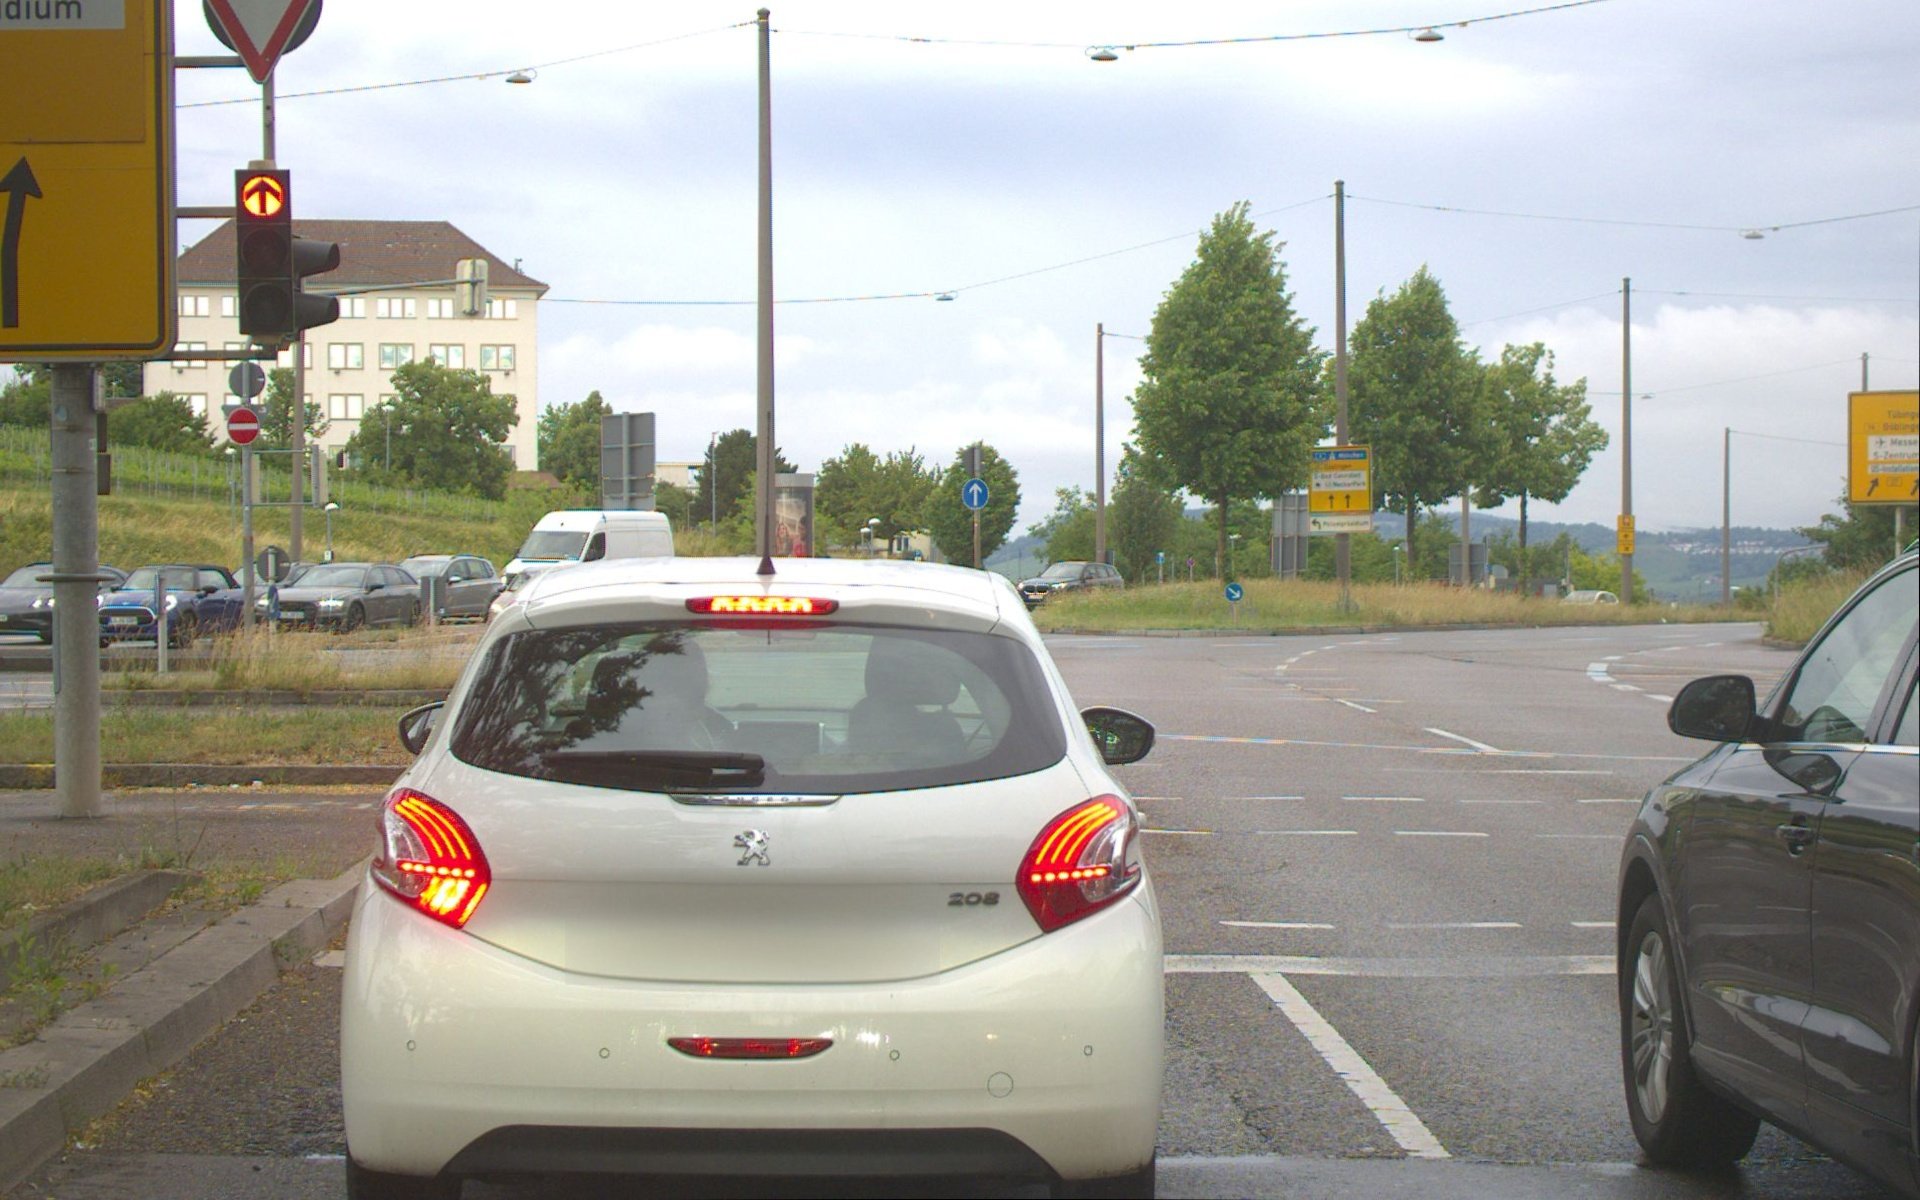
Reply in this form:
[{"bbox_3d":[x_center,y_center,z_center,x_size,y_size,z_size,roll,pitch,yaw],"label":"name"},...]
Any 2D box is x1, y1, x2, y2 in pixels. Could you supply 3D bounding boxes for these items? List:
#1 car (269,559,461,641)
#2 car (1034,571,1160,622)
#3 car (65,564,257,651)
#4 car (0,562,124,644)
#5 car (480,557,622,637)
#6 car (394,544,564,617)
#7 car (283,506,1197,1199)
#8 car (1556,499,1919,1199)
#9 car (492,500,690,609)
[{"bbox_3d":[-11.478,0.008,66.672,1.902,1.484,4.889,2,0,13],"label":"car"},{"bbox_3d":[4.337,-0.099,108.454,1.997,1.507,4.223,2,0,35],"label":"car"},{"bbox_3d":[-13.502,0.145,58.300,1.787,1.391,3.880,1,-1,9],"label":"car"},{"bbox_3d":[-16.448,0.057,61.365,1.786,1.391,3.881,1,0,5],"label":"car"},{"bbox_3d":[-7.458,-0.058,63.081,1.776,1.420,4.373,0,0,4],"label":"car"},{"bbox_3d":[-11.018,-0.430,79.012,1.996,1.570,4.190,2,0,22],"label":"car"},{"bbox_3d":[-0.467,0.562,8.536,1.717,1.484,4.000,1,0,-1],"label":"car"},{"bbox_3d":[2.579,0.642,7.012,1.884,1.590,4.114,2,0,-1],"label":"car"},{"bbox_3d":[-9.168,-1.102,86.067,1.996,2.550,6.161,2,0,24],"label":"car"}]
